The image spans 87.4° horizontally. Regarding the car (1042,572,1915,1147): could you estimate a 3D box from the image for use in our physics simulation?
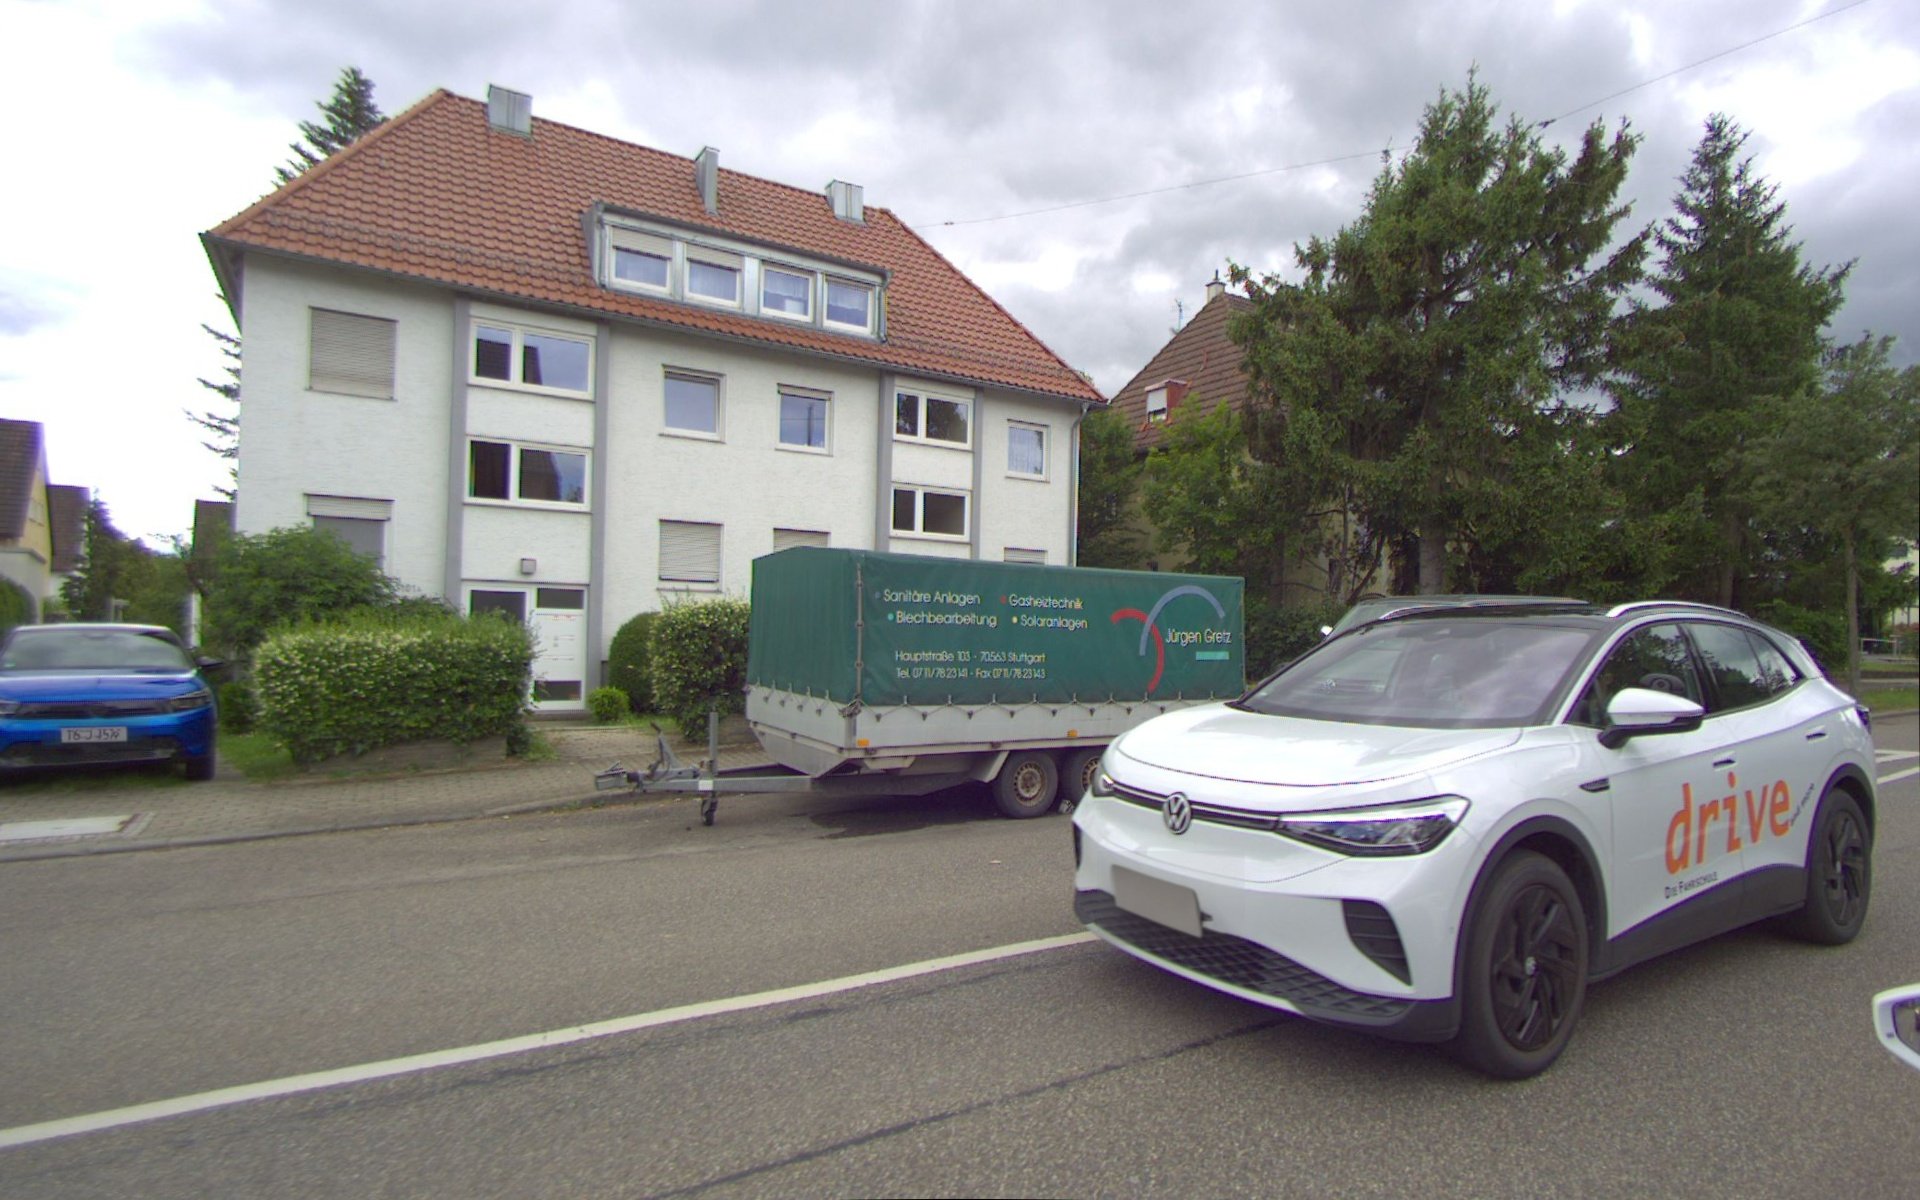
[{"bbox_3d":[2.622,0.802,4.780,4.252,1.624,1.811,1,-2,-33],"label":"car"}]

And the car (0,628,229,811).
[{"bbox_3d":[-8.171,0.978,9.658,1.711,1.389,3.962,1,-2,-35],"label":"car"}]

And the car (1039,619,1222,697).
[{"bbox_3d":[3.495,1.163,20.744,3.369,1.505,1.626,1,-1,-16],"label":"car"}]

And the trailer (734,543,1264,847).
[{"bbox_3d":[0.422,0.715,9.089,4.377,2.116,2.143,1,-1,-32],"label":"trailer"}]

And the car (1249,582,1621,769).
[{"bbox_3d":[6.110,0.863,12.763,4.843,1.975,1.983,1,-1,-32],"label":"car"}]
